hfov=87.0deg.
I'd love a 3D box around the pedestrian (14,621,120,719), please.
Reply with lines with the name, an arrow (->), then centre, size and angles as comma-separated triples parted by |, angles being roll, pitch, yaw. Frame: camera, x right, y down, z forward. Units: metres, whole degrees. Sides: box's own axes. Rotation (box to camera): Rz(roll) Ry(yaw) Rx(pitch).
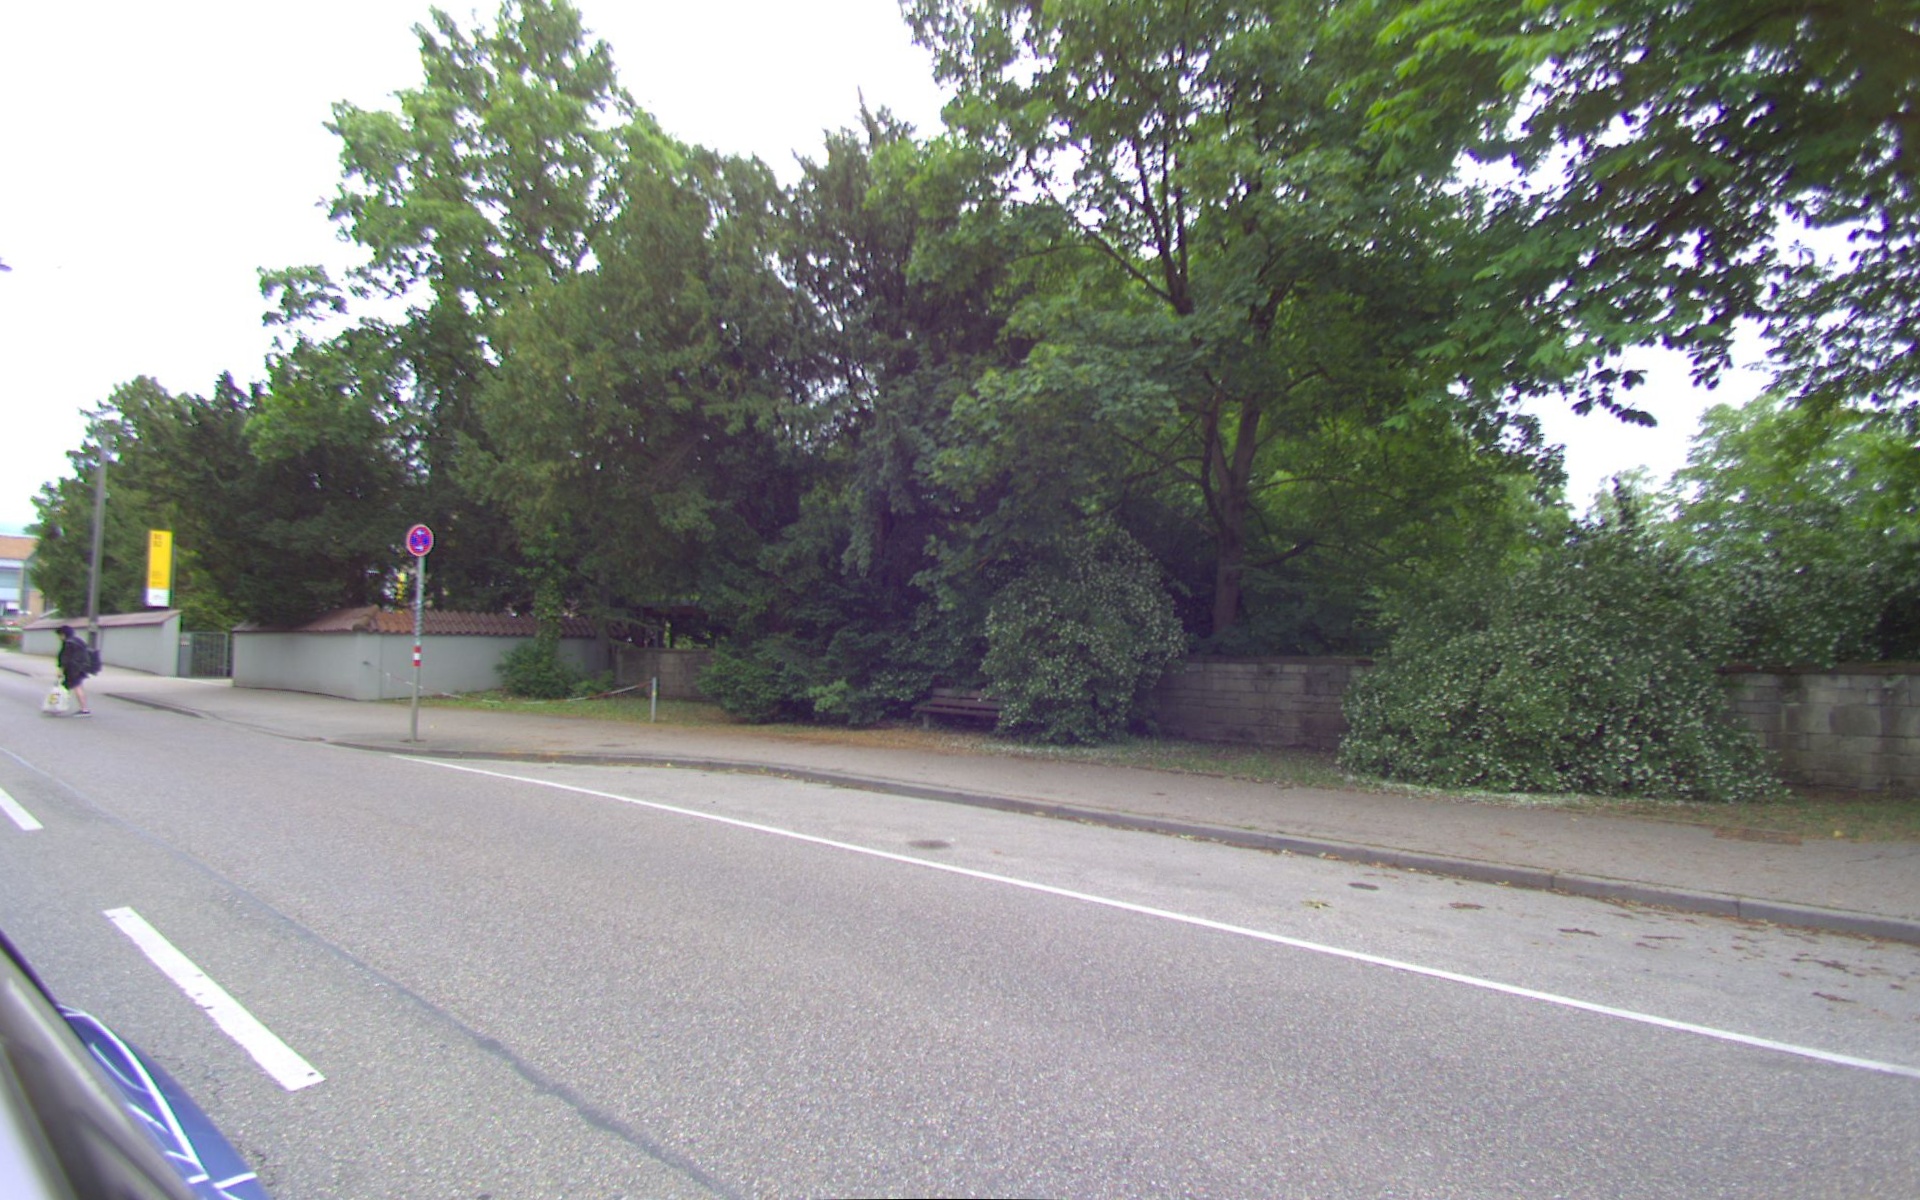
pedestrian -> -15.033, 1.175, 17.073 | 0.887, 1.572, 0.931 | 4, -4, -13
